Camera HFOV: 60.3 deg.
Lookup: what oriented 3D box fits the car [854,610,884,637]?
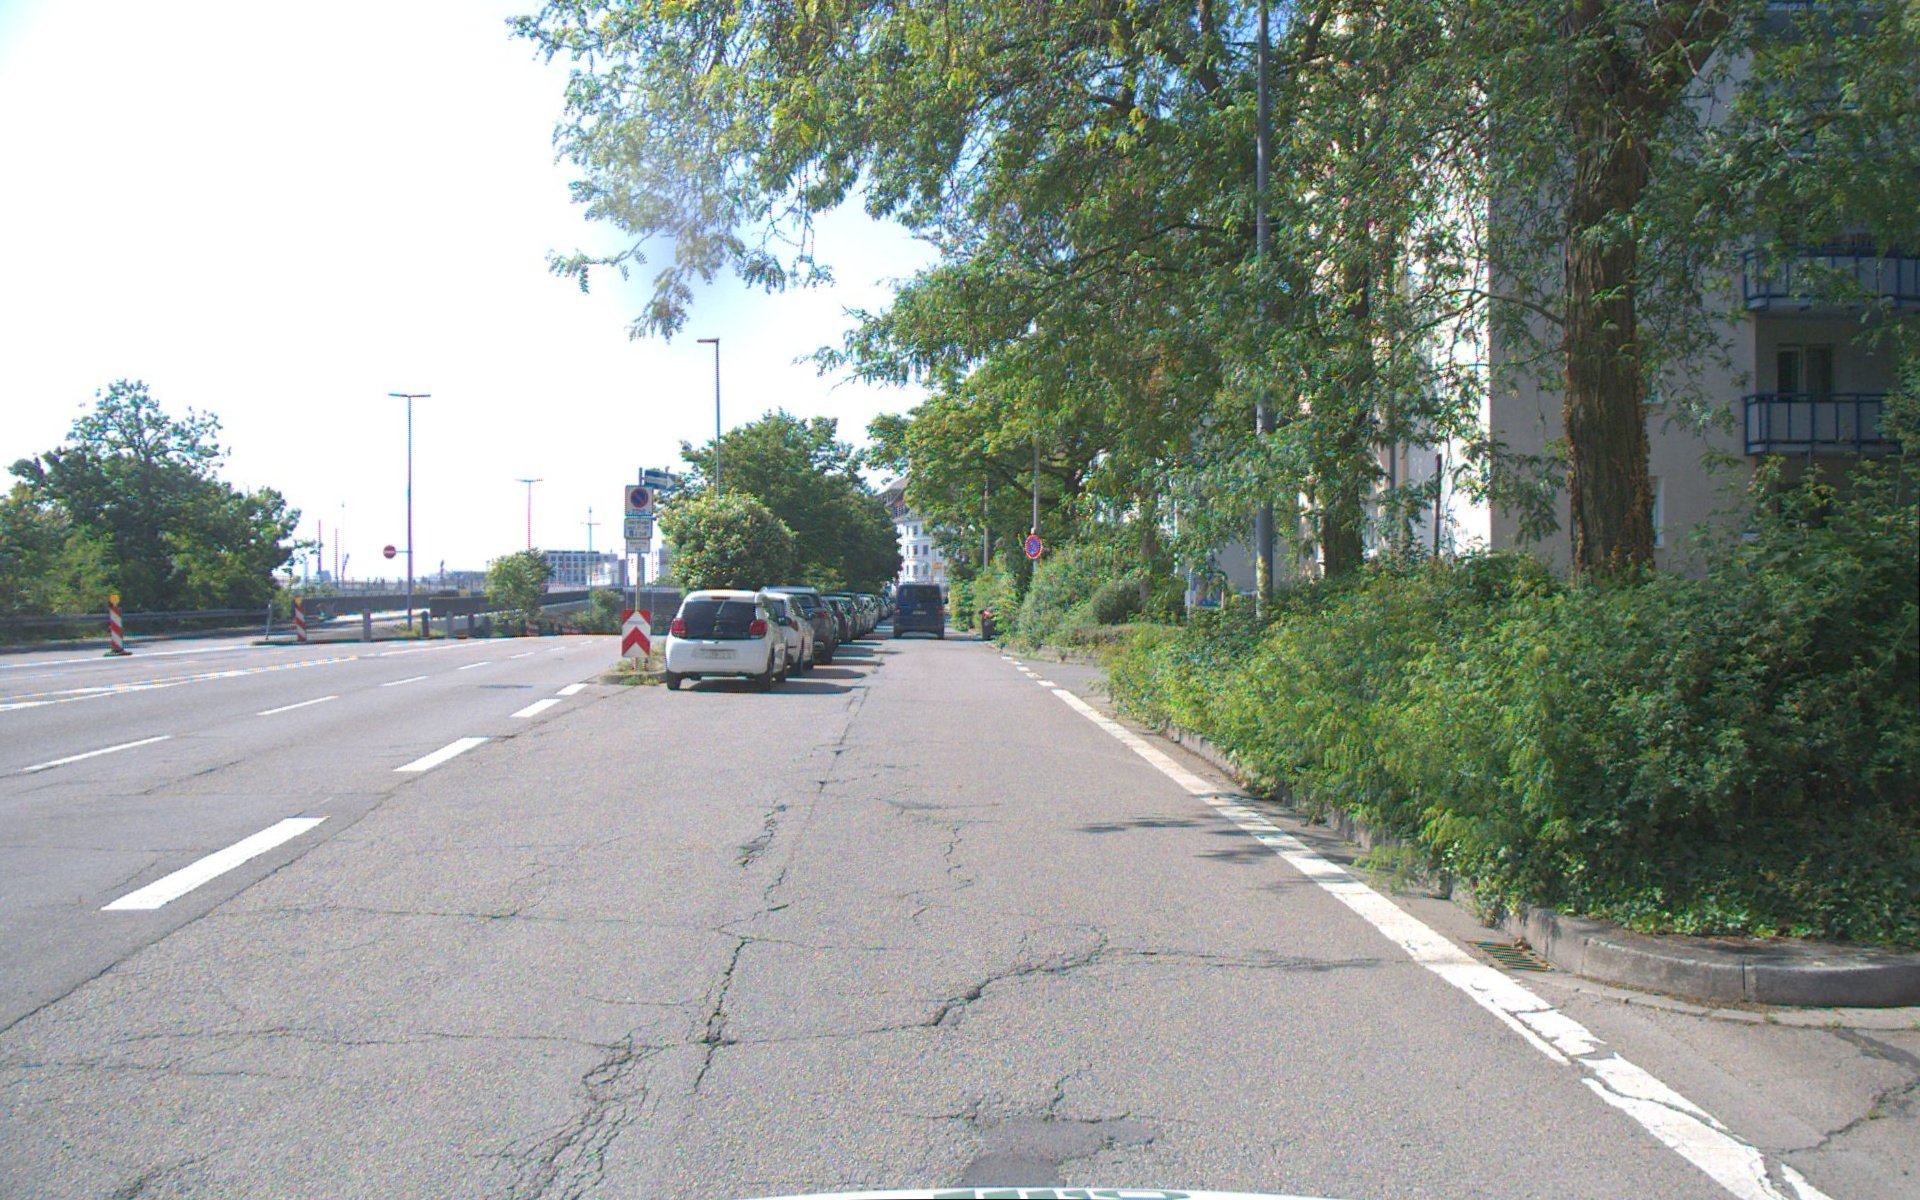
[{"bbox_3d":[-5.472,1.379,99.791,1.630,1.536,4.007,2,0,-1],"label":"car"}]

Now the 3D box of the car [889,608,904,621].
[{"bbox_3d":[-8.337,1.917,216.706,1.953,1.686,3.998,0,-1,-2],"label":"car"}]

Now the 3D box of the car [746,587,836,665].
[{"bbox_3d":[-3.644,0.541,36.273,1.736,1.607,4.183,0,0,-3],"label":"car"}]

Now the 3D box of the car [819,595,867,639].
[{"bbox_3d":[-4.408,0.607,62.706,1.630,1.611,3.931,0,0,-1],"label":"car"}]

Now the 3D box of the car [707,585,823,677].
[{"bbox_3d":[-3.561,0.544,30.790,1.686,1.531,4.131,2,0,-1],"label":"car"}]

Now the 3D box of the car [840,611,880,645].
[{"bbox_3d":[-4.724,1.289,78.394,1.630,1.494,4.200,2,0,-1],"label":"car"}]

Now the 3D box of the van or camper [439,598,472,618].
[{"bbox_3d":[-34.638,0.549,113.600,1.439,1.373,4.623,0,0,-7],"label":"van or camper"}]

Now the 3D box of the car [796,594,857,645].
[{"bbox_3d":[-4.162,0.600,51.954,1.630,1.499,3.788,2,0,-1],"label":"car"}]

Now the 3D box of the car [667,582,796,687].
[{"bbox_3d":[-3.554,0.524,26.211,1.586,1.532,3.460,1,0,-1],"label":"car"}]

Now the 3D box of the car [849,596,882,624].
[{"bbox_3d":[-5.412,0.552,95.005,1.630,1.536,4.007,2,0,-1],"label":"car"}]

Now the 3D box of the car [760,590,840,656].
[{"bbox_3d":[-3.965,0.551,41.531,1.630,1.500,3.875,3,0,-1],"label":"car"}]

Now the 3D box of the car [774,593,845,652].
[{"bbox_3d":[-4.229,0.627,47.056,1.630,1.538,4.593,2,0,-1],"label":"car"}]

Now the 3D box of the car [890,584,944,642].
[{"bbox_3d":[-1.546,0.465,60.398,1.845,1.955,4.007,2,0,-1],"label":"car"}]

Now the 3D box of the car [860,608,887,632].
[{"bbox_3d":[-5.775,1.322,110.778,1.630,1.536,4.007,2,0,-1],"label":"car"}]

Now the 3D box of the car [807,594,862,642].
[{"bbox_3d":[-4.366,0.619,57.887,1.630,1.538,3.788,2,0,-1],"label":"car"}]

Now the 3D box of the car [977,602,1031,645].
[{"bbox_3d":[1.535,0.835,59.252,1.692,1.445,3.998,-1,-1,-2],"label":"car"}]
